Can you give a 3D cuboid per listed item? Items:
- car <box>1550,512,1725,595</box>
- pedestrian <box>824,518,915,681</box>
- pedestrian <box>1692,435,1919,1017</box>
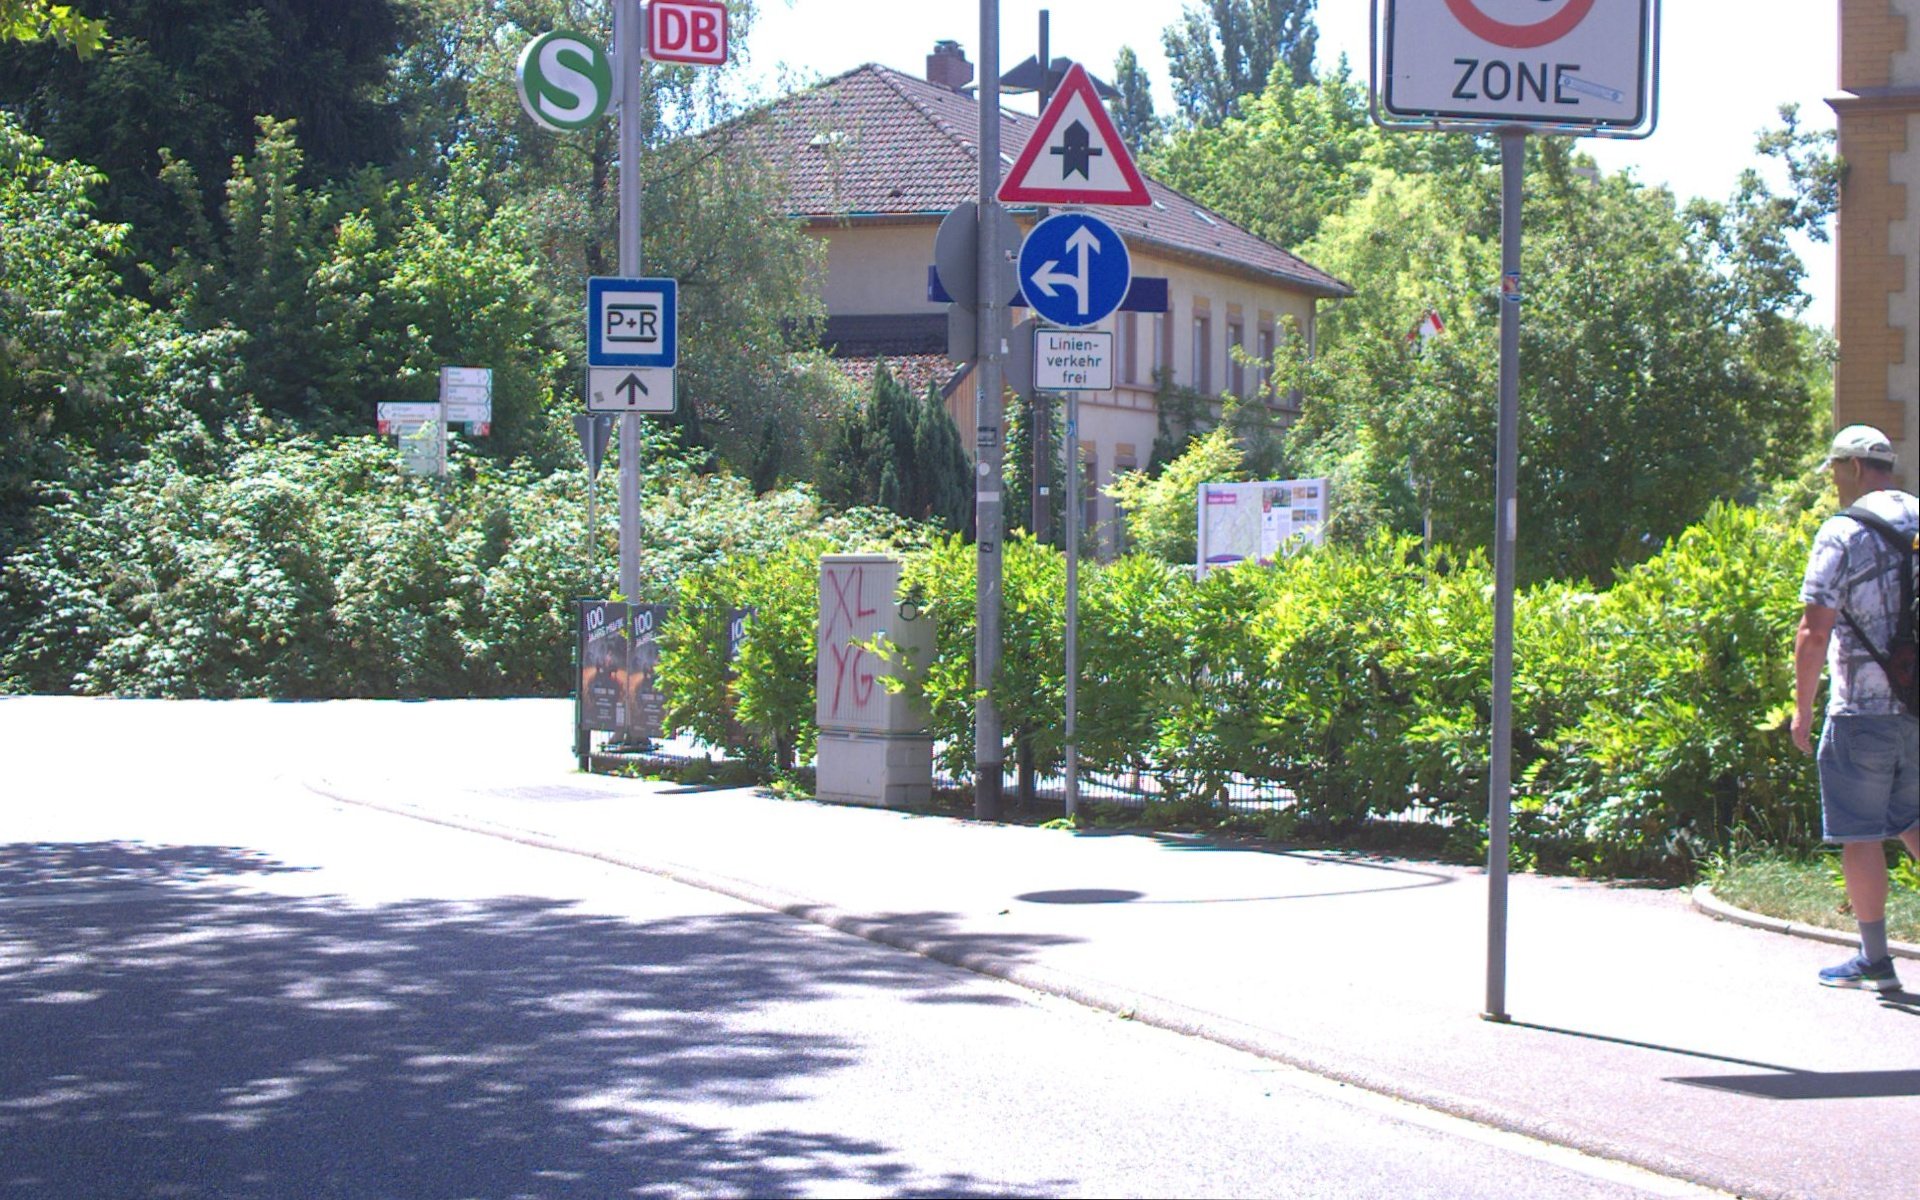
[{"bbox_3d":[19.248,-1.331,97.731,4.450,2.314,2.199,1,1,26],"label":"car"},{"bbox_3d":[-0.924,-0.013,35.029,0.615,1.622,0.700,0,3,-34],"label":"pedestrian"},{"bbox_3d":[2.972,0.370,10.977,0.912,1.766,0.915,0,1,-17],"label":"pedestrian"}]
